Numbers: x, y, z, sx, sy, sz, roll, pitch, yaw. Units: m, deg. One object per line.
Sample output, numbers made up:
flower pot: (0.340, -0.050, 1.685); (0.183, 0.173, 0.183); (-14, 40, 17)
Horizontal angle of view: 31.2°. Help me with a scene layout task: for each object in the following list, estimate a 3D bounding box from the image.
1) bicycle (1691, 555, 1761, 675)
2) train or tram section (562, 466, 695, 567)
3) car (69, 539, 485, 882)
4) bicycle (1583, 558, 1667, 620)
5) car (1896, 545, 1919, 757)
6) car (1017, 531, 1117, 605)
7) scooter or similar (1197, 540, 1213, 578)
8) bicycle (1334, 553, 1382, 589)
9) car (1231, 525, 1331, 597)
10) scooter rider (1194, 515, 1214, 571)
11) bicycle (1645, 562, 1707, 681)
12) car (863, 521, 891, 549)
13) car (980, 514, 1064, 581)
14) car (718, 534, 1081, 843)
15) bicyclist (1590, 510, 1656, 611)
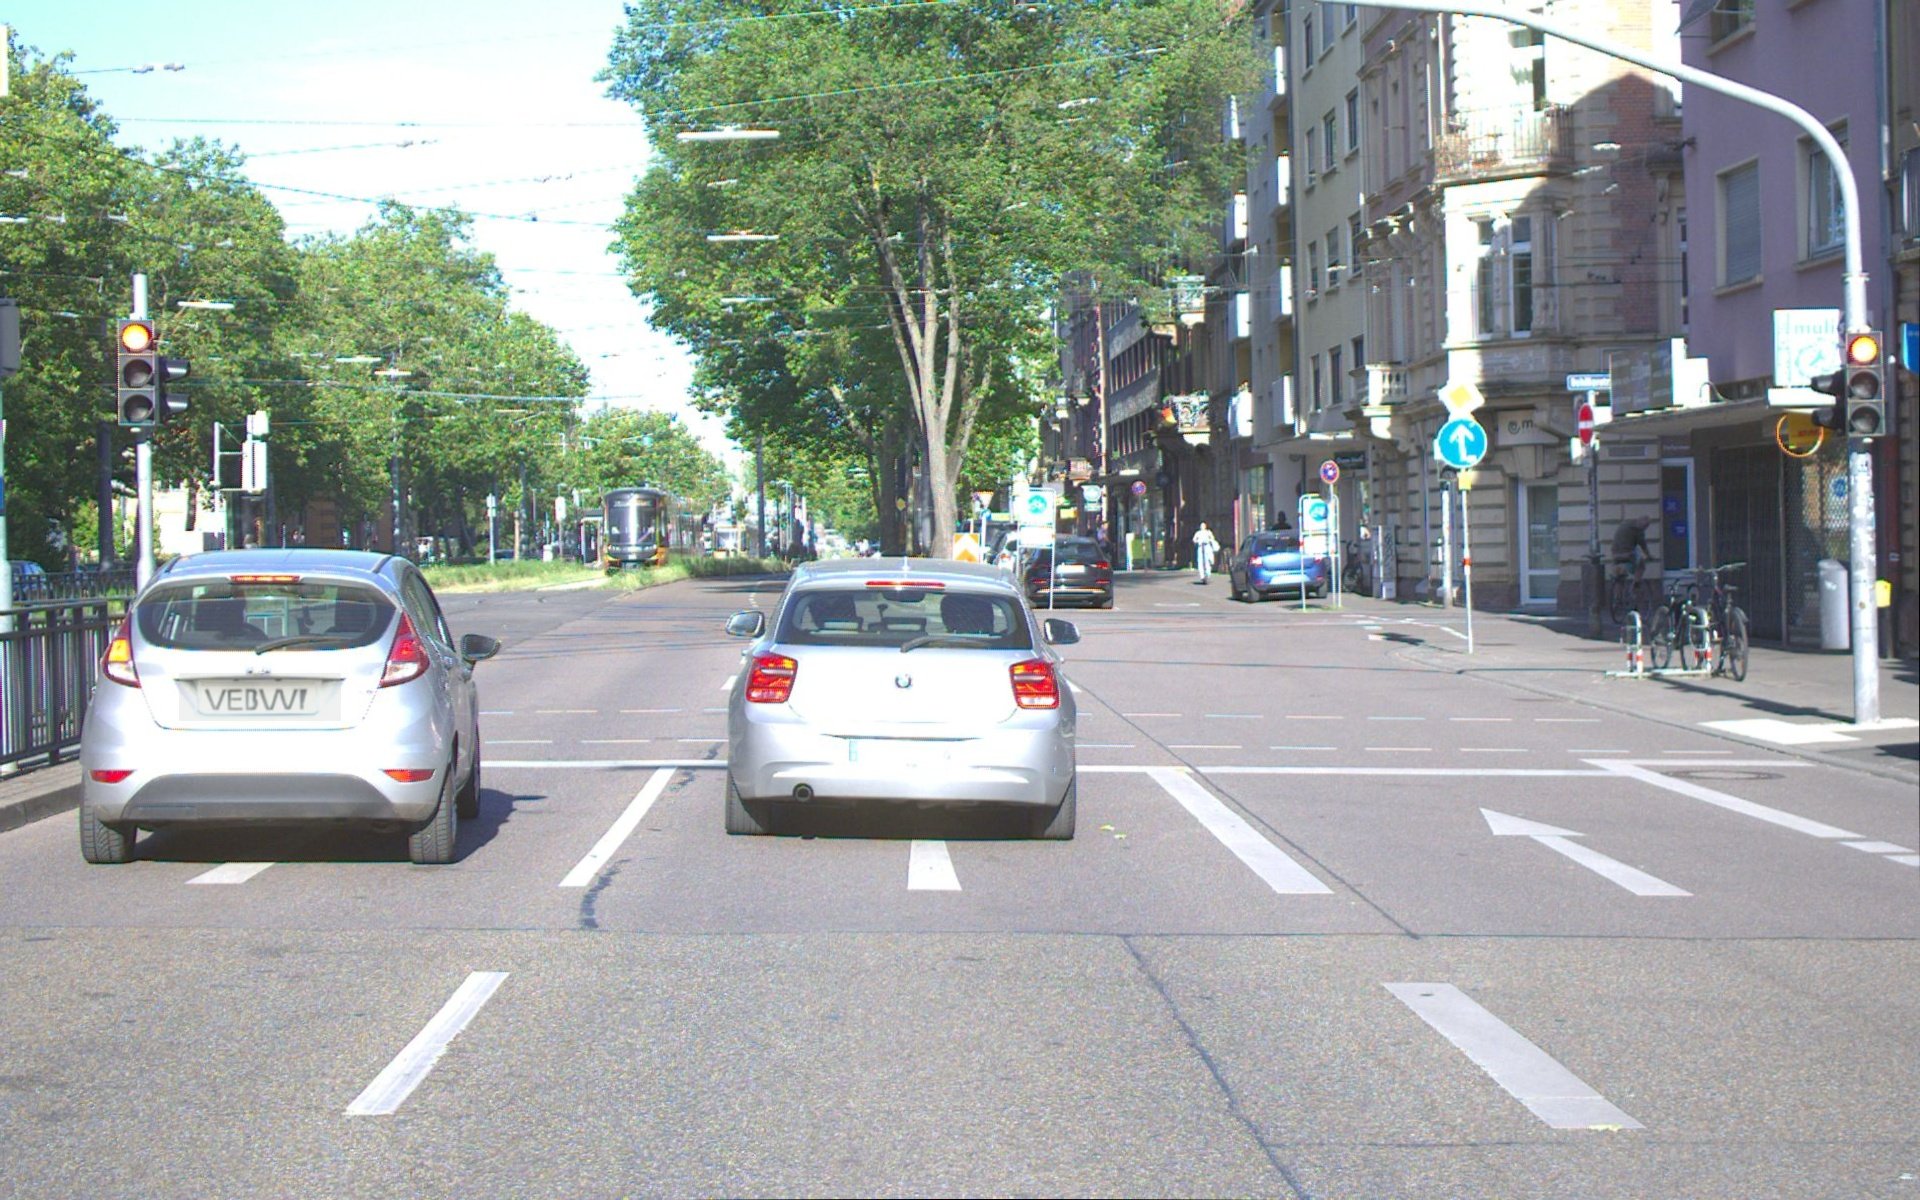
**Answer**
bicycle: (7.684, 0.134, 34.522); (0.448, 1.155, 1.758); (0, 1, 5)
train or tram section: (-13.449, -3.403, 141.309); (3.969, 3.852, 17.490); (0, 1, -1)
car: (-3.259, 0.447, 17.014); (1.609, 1.462, 3.891); (-1, 1, -5)
bicycle: (10.024, -0.167, 51.819); (0.654, 0.900, 1.335); (1, 2, 41)
car: (7.219, 0.335, 21.381); (1.562, 1.411, 4.004); (-4, 1, -1)
car: (2.129, -0.658, 69.250); (1.735, 1.428, 3.678); (1, 1, -2)
scooter or similar: (6.571, -1.104, 92.301); (0.337, 0.984, 1.284); (0, 1, 0)
bicycle: (8.735, -0.635, 75.468); (0.754, 0.768, 1.945); (0, 1, -2)
car: (6.991, -0.873, 75.206); (1.735, 1.514, 3.637); (1, 1, -2)
scooter rider: (6.546, -1.525, 92.226); (0.465, 1.500, 0.811); (0, 0, 0)
bicycle: (7.185, 0.199, 34.525); (0.414, 1.137, 1.809); (0, 1, 6)
car: (-6.010, -4.718, 249.524); (1.993, 2.007, 4.000); (-1, 1, -1)
car: (1.425, -1.226, 79.778); (1.724, 1.501, 3.555); (1, 1, -2)
car: (-0.329, 0.390, 18.700); (1.740, 1.462, 4.000); (1, 1, -1)
bicyclist: (9.981, -0.594, 51.749); (0.548, 1.497, 0.959); (0, 1, 41)
